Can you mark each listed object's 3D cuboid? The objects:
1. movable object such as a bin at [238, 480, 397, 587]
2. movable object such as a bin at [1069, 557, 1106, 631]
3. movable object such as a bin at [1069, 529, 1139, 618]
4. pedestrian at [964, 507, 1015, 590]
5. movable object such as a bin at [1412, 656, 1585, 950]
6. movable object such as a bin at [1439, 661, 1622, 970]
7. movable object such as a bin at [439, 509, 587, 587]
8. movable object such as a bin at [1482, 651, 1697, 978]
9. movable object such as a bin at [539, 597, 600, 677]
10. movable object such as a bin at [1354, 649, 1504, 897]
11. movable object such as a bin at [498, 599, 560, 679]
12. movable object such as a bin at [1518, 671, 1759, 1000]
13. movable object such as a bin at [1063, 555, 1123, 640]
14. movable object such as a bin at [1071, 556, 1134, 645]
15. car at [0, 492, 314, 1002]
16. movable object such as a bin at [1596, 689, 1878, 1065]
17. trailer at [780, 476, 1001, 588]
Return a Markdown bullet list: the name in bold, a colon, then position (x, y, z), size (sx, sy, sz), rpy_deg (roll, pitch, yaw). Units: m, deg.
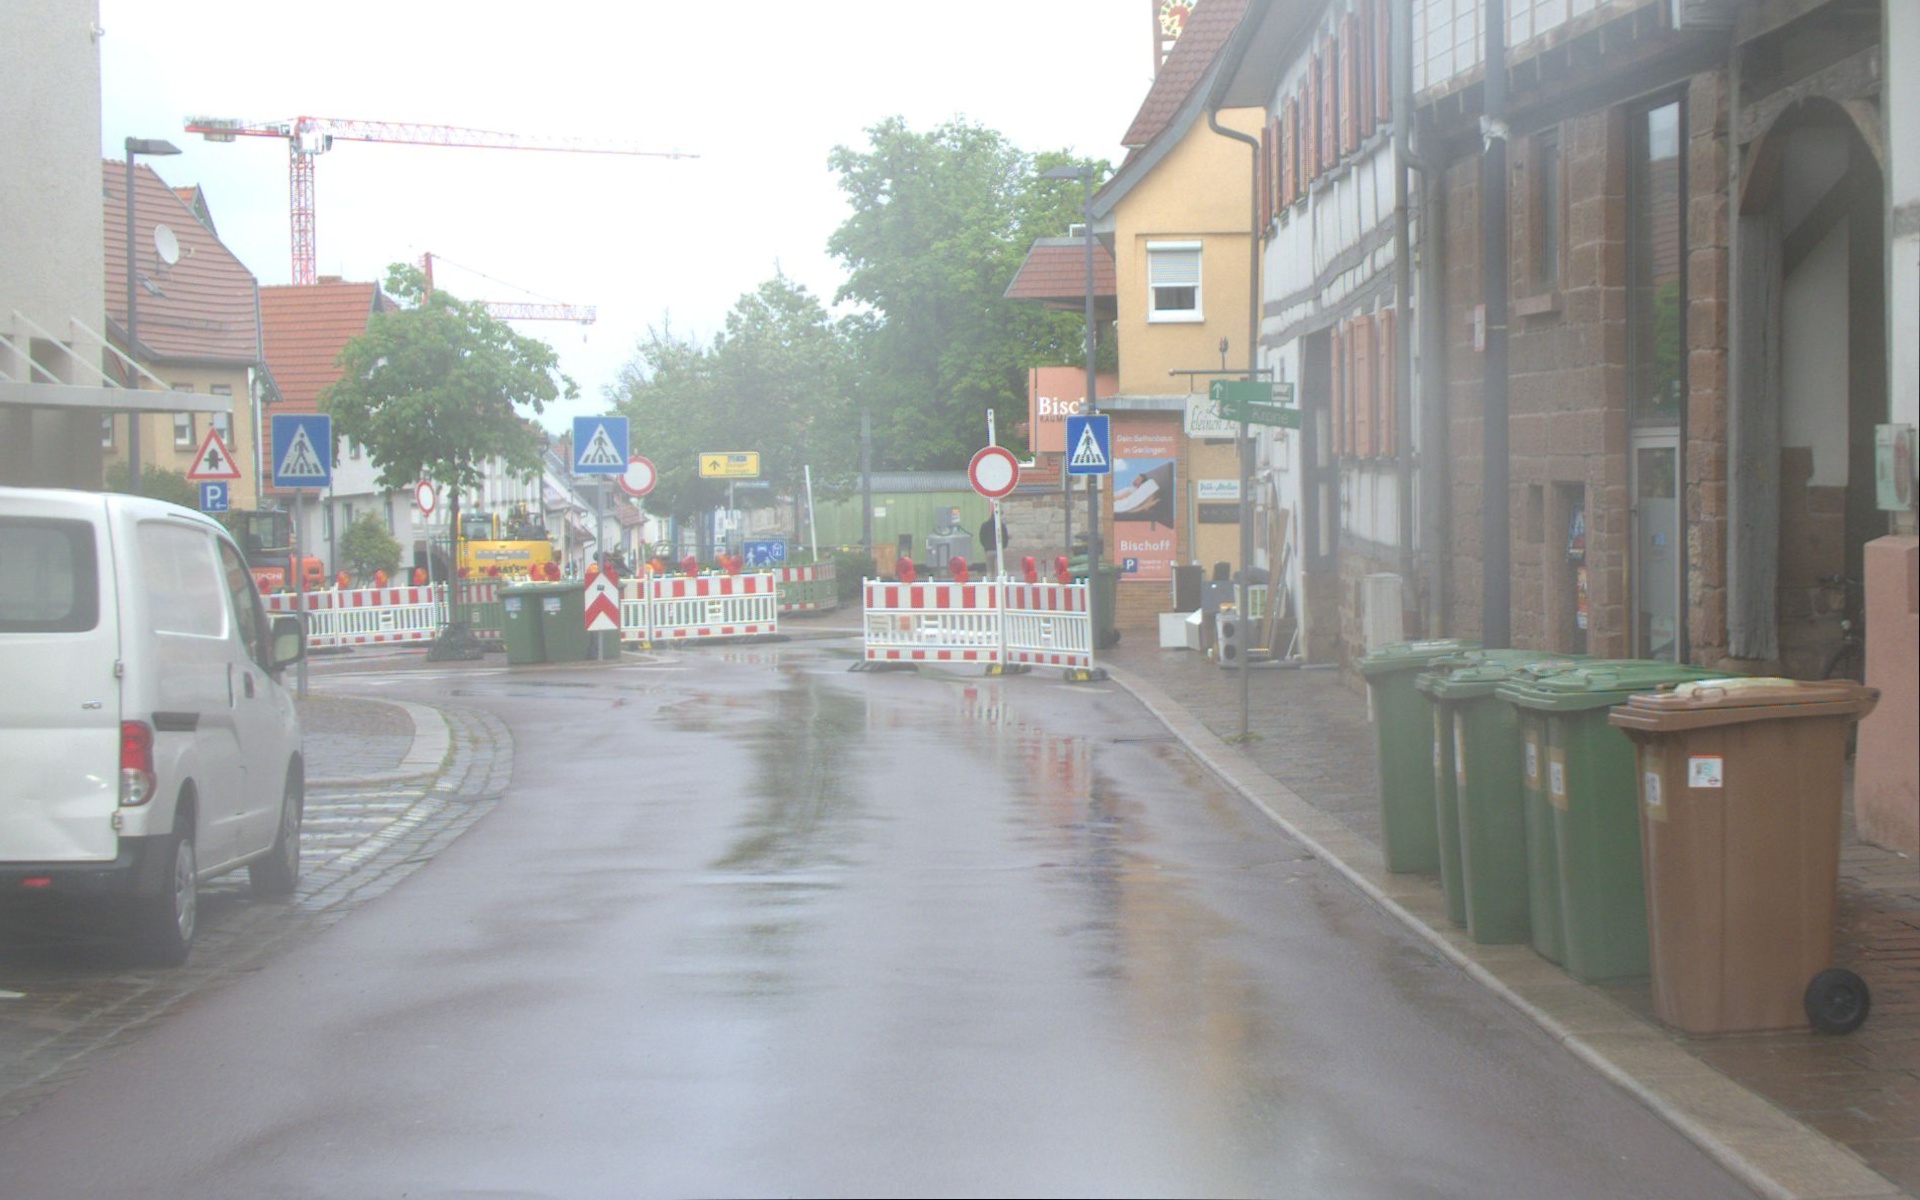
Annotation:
- **movable object such as a bin**: position (-13.012, -1.339, 69.839), size (1.905, 2.007, 3.999), rpy_deg (-3, 0, 8)
- **movable object such as a bin**: position (2.044, -0.100, 54.942), size (0.517, 1.128, 0.580), rpy_deg (-4, 2, 3)
- **movable object such as a bin**: position (2.589, -0.480, 61.731), size (1.065, 1.507, 1.242), rpy_deg (-4, 1, 7)
- **pedestrian**: position (0.621, -1.086, 73.009), size (0.990, 1.753, 0.852), rpy_deg (0, 0, -7)
- **movable object such as a bin**: position (2.159, 0.804, 13.833), size (0.638, 1.143, 0.580), rpy_deg (0, 0, 4)
- **movable object such as a bin**: position (2.183, 0.815, 13.202), size (0.638, 1.143, 0.603), rpy_deg (0, 0, 4)
- **movable object such as a bin**: position (-11.721, -1.362, 90.436), size (3.402, 2.007, 3.479), rpy_deg (0, 1, 1)
- **movable object such as a bin**: position (2.283, 0.765, 12.518), size (0.638, 1.143, 0.632), rpy_deg (0, 0, -3)
- **movable object such as a bin**: position (-5.130, 0.487, 45.190), size (0.544, 1.029, 0.533), rpy_deg (-3, -1, 33)
- **movable object such as a bin**: position (2.188, 0.799, 16.101), size (0.609, 1.124, 0.599), rpy_deg (0, 0, -1)
- **movable object such as a bin**: position (-5.700, 0.516, 45.504), size (0.541, 1.033, 0.571), rpy_deg (-3, -1, 33)
- **movable object such as a bin**: position (2.334, 0.799, 11.882), size (0.669, 1.077, 0.588), rpy_deg (-2, 0, -2)
- **movable object such as a bin**: position (1.716, -0.039, 44.186), size (0.616, 1.062, 0.539), rpy_deg (-2, 0, 16)
- **movable object such as a bin**: position (1.804, 0.004, 43.584), size (0.678, 1.062, 0.540), rpy_deg (-3, 4, -8)
- **car**: position (-3.900, 0.507, 14.480), size (1.723, 1.819, 4.429), rpy_deg (0, 1, -3)
- **movable object such as a bin**: position (2.381, 0.834, 10.586), size (0.678, 1.093, 0.650), rpy_deg (0, 1, -4)
- **trailer**: position (-1.877, -1.822, 92.187), size (5.780, 2.937, 2.000), rpy_deg (0, 0, -5)
